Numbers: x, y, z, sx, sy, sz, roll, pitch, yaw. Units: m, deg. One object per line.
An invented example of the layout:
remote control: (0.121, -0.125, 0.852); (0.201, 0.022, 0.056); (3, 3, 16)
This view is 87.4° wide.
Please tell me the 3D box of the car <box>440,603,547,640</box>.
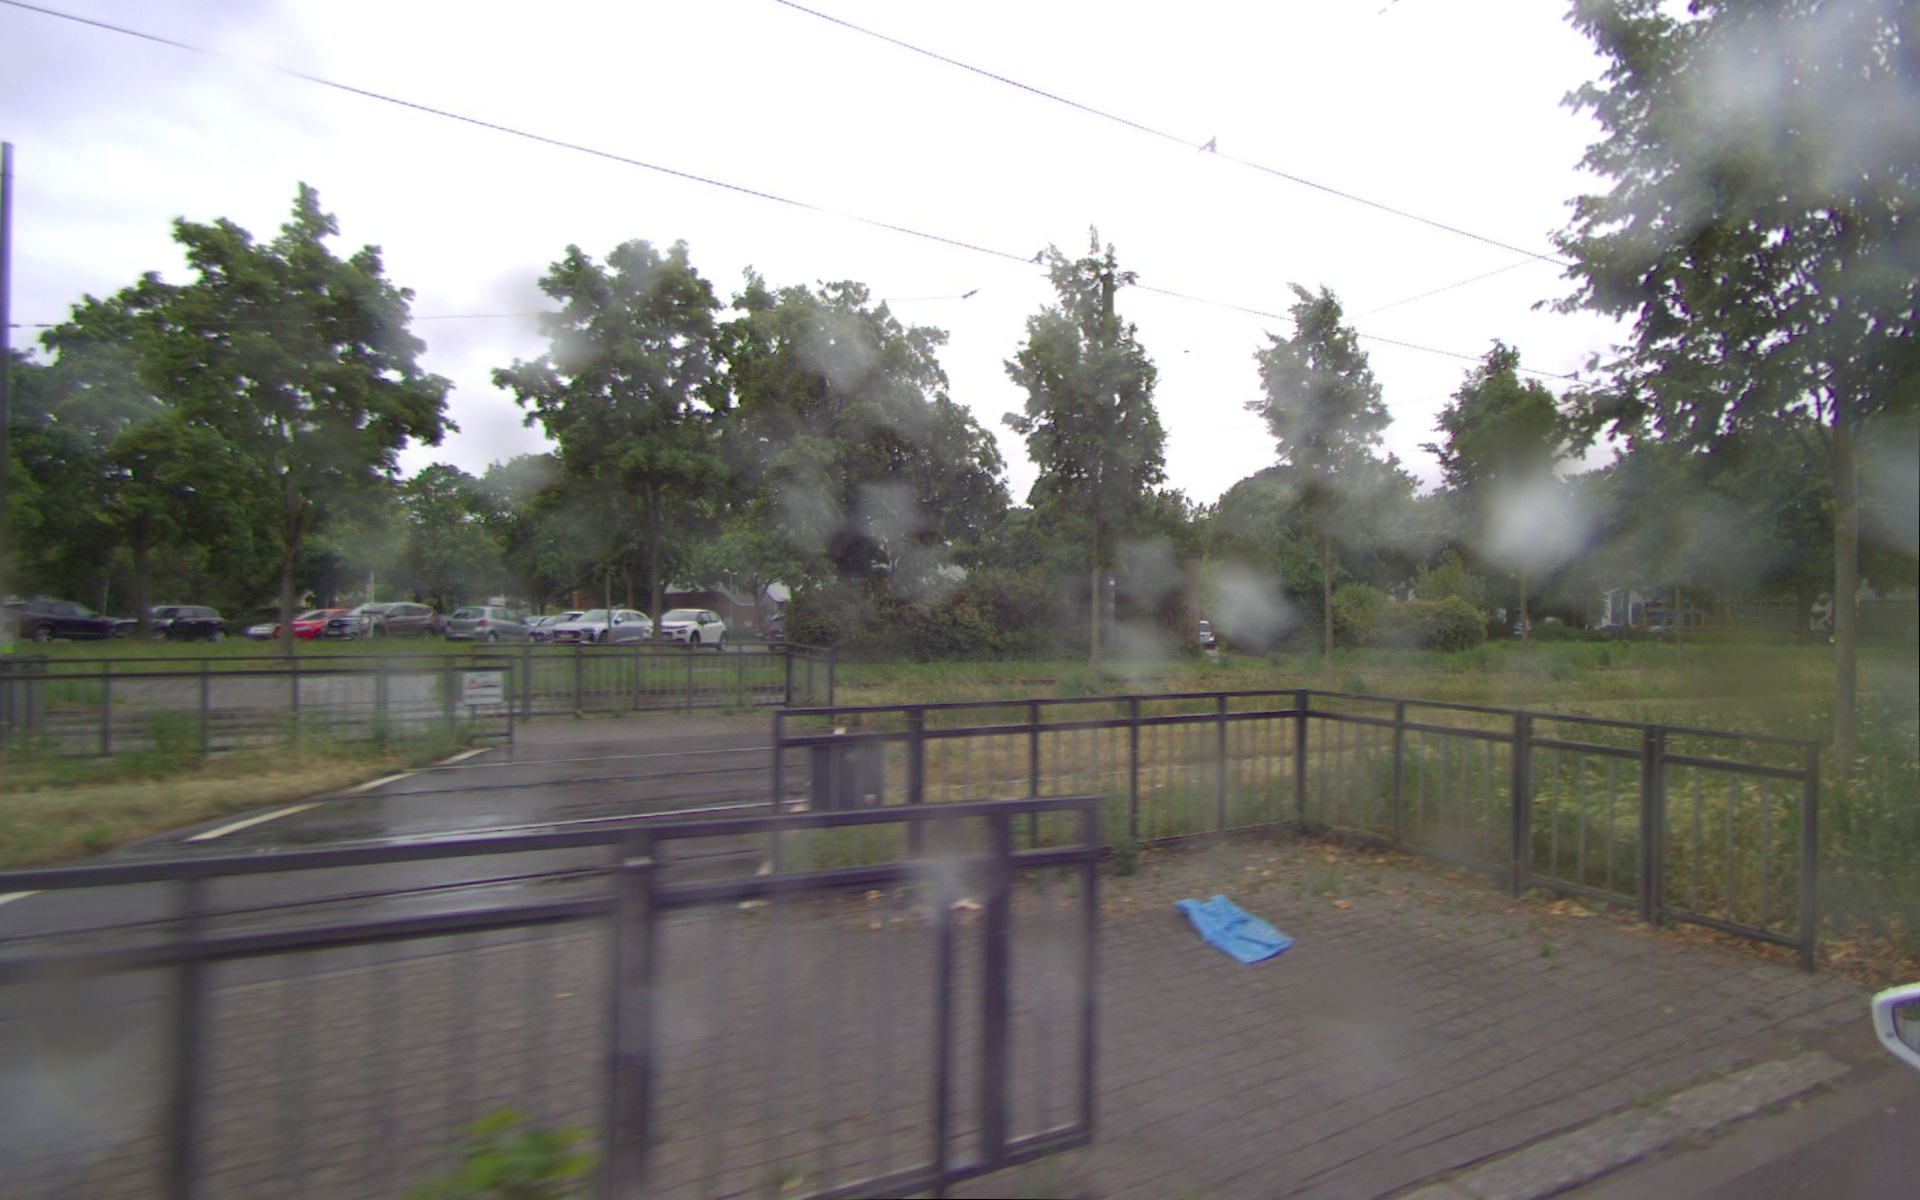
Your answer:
car: (-16.892, 0.792, 36.578); (1.631, 1.265, 3.745); (0, -2, 11)

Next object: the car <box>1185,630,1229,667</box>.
car: (14.328, 2.759, 58.135); (1.961, 2.040, 3.999); (0, -2, 22)

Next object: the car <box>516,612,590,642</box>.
car: (-19.473, 1.292, 48.237); (1.631, 1.343, 3.745); (0, -2, 8)

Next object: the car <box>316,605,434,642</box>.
car: (-21.161, 0.856, 36.492); (1.631, 1.265, 3.745); (0, -2, 11)

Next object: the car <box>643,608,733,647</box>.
car: (-9.282, 0.958, 34.553); (1.631, 1.265, 3.745); (0, -2, 8)

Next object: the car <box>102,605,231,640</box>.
car: (-30.663, 0.880, 38.937); (1.631, 1.265, 3.745); (0, -2, 11)

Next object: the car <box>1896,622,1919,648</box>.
car: (67.321, 2.420, 68.927); (1.629, 1.820, 4.199); (0, -1, -24)

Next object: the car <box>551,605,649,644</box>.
car: (-12.386, 0.853, 34.779); (1.631, 1.265, 3.745); (0, -2, 8)

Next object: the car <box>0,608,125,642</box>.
car: (-35.295, 0.979, 39.389); (1.631, 1.265, 3.745); (0, -2, 11)

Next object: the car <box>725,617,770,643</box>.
car: (-13.585, 1.891, 64.434); (1.656, 1.594, 4.064); (0, -1, 6)

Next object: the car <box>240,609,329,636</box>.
car: (-34.066, 1.150, 50.764); (1.631, 1.343, 3.745); (0, -2, 8)

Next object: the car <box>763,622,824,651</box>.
car: (-7.444, 1.635, 45.207); (1.631, 1.265, 3.745); (0, -2, 8)

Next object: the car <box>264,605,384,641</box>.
car: (-23.450, 0.872, 37.200); (1.631, 1.265, 3.745); (0, -2, 11)

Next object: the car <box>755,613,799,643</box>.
car: (-11.653, 1.769, 64.133); (1.656, 1.846, 4.064); (0, -1, 6)
